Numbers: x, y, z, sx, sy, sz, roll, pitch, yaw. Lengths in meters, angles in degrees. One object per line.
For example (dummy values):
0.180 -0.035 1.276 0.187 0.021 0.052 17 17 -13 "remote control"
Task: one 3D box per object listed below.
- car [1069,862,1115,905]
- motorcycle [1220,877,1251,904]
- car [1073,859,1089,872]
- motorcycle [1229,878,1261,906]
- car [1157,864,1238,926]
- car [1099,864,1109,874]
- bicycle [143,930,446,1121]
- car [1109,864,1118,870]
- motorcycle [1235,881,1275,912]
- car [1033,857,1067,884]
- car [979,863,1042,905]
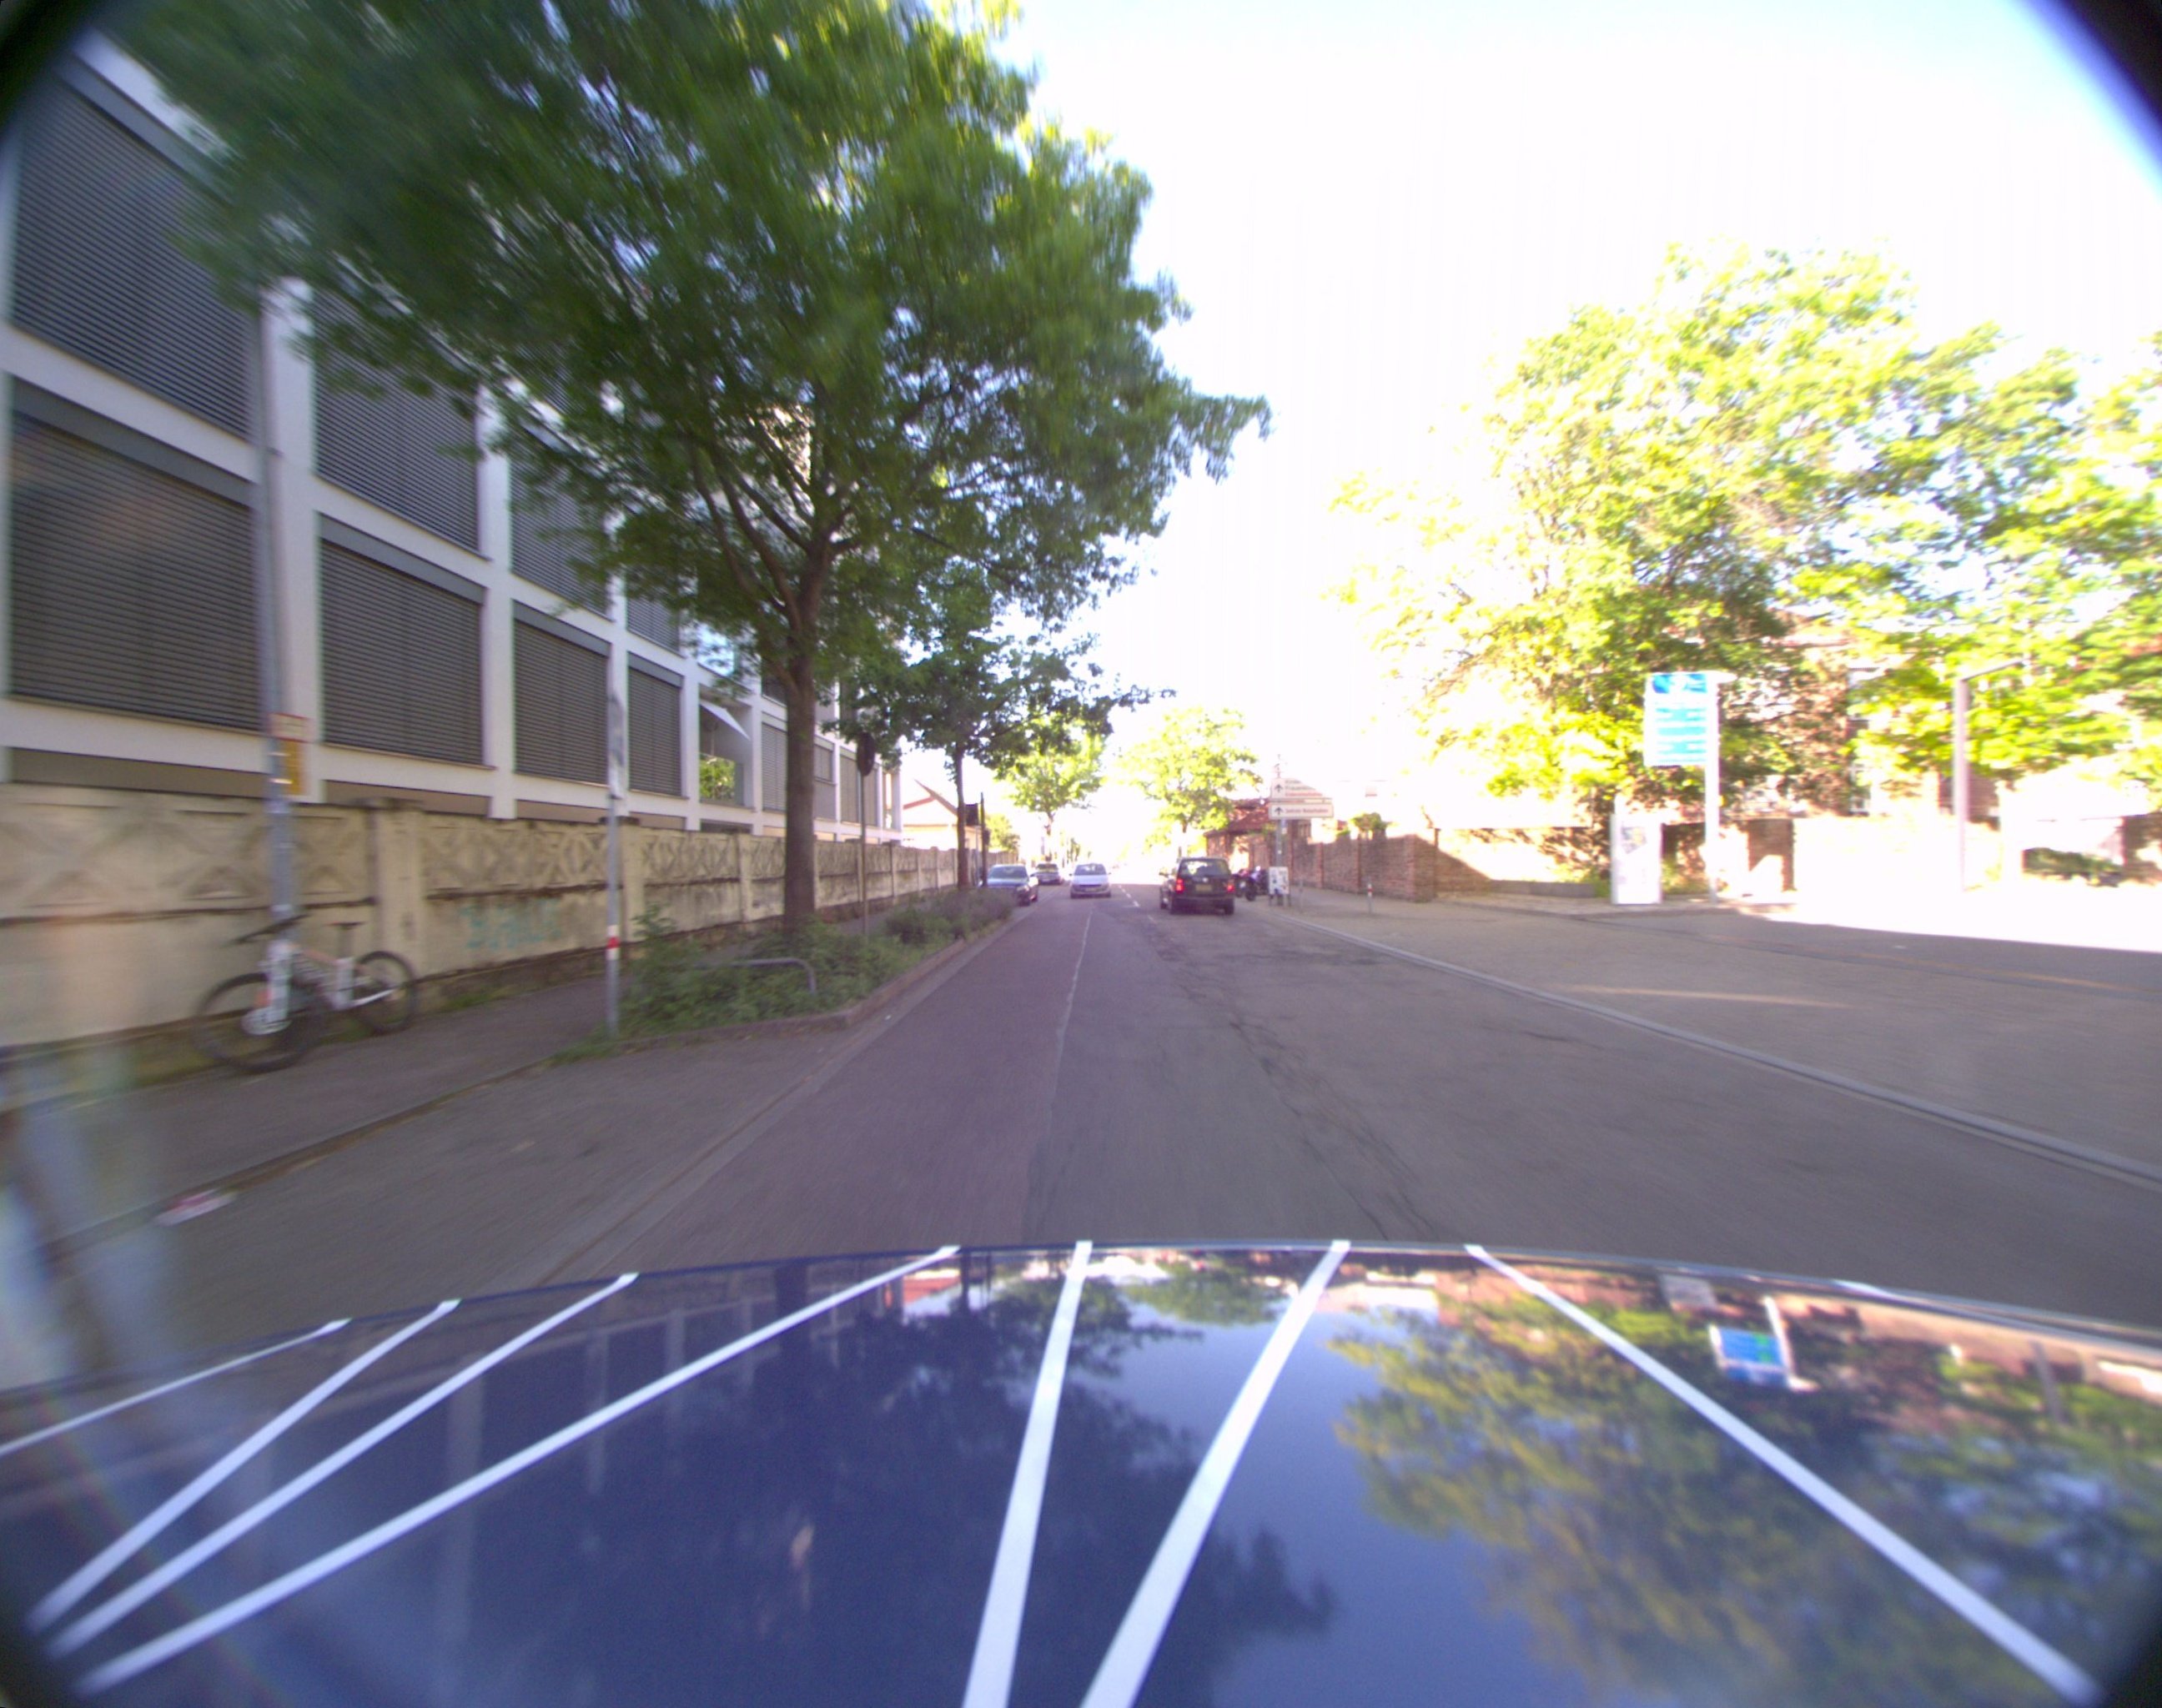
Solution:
0.508 1.192 31.981 1.747 1.613 4.107 -2 0 2 "car"
6.567 1.521 32.195 0.530 1.033 2.095 -2 -1 33 "motorcycle"
0.048 1.340 88.329 1.757 1.459 3.486 -2 0 0 "car"
6.606 1.507 30.553 0.530 1.033 2.095 -2 -1 33 "motorcycle"
3.251 1.098 21.961 1.648 1.601 4.021 1 -1 -1 "car"
4.389 2.776 143.969 1.834 1.732 4.000 -2 0 1 "car"
-5.758 1.180 5.738 0.337 1.034 1.831 -1 0 1 "bicycle"
7.912 3.157 184.609 1.998 1.406 4.000 -4 0 2 "car"
6.273 1.494 27.303 0.599 1.026 2.132 -1 -1 36 "motorcycle"
-1.953 1.048 49.258 1.887 1.592 4.299 -2 -1 2 "car"
-2.498 1.060 28.071 1.724 1.402 4.764 -1 -1 2 "car"
